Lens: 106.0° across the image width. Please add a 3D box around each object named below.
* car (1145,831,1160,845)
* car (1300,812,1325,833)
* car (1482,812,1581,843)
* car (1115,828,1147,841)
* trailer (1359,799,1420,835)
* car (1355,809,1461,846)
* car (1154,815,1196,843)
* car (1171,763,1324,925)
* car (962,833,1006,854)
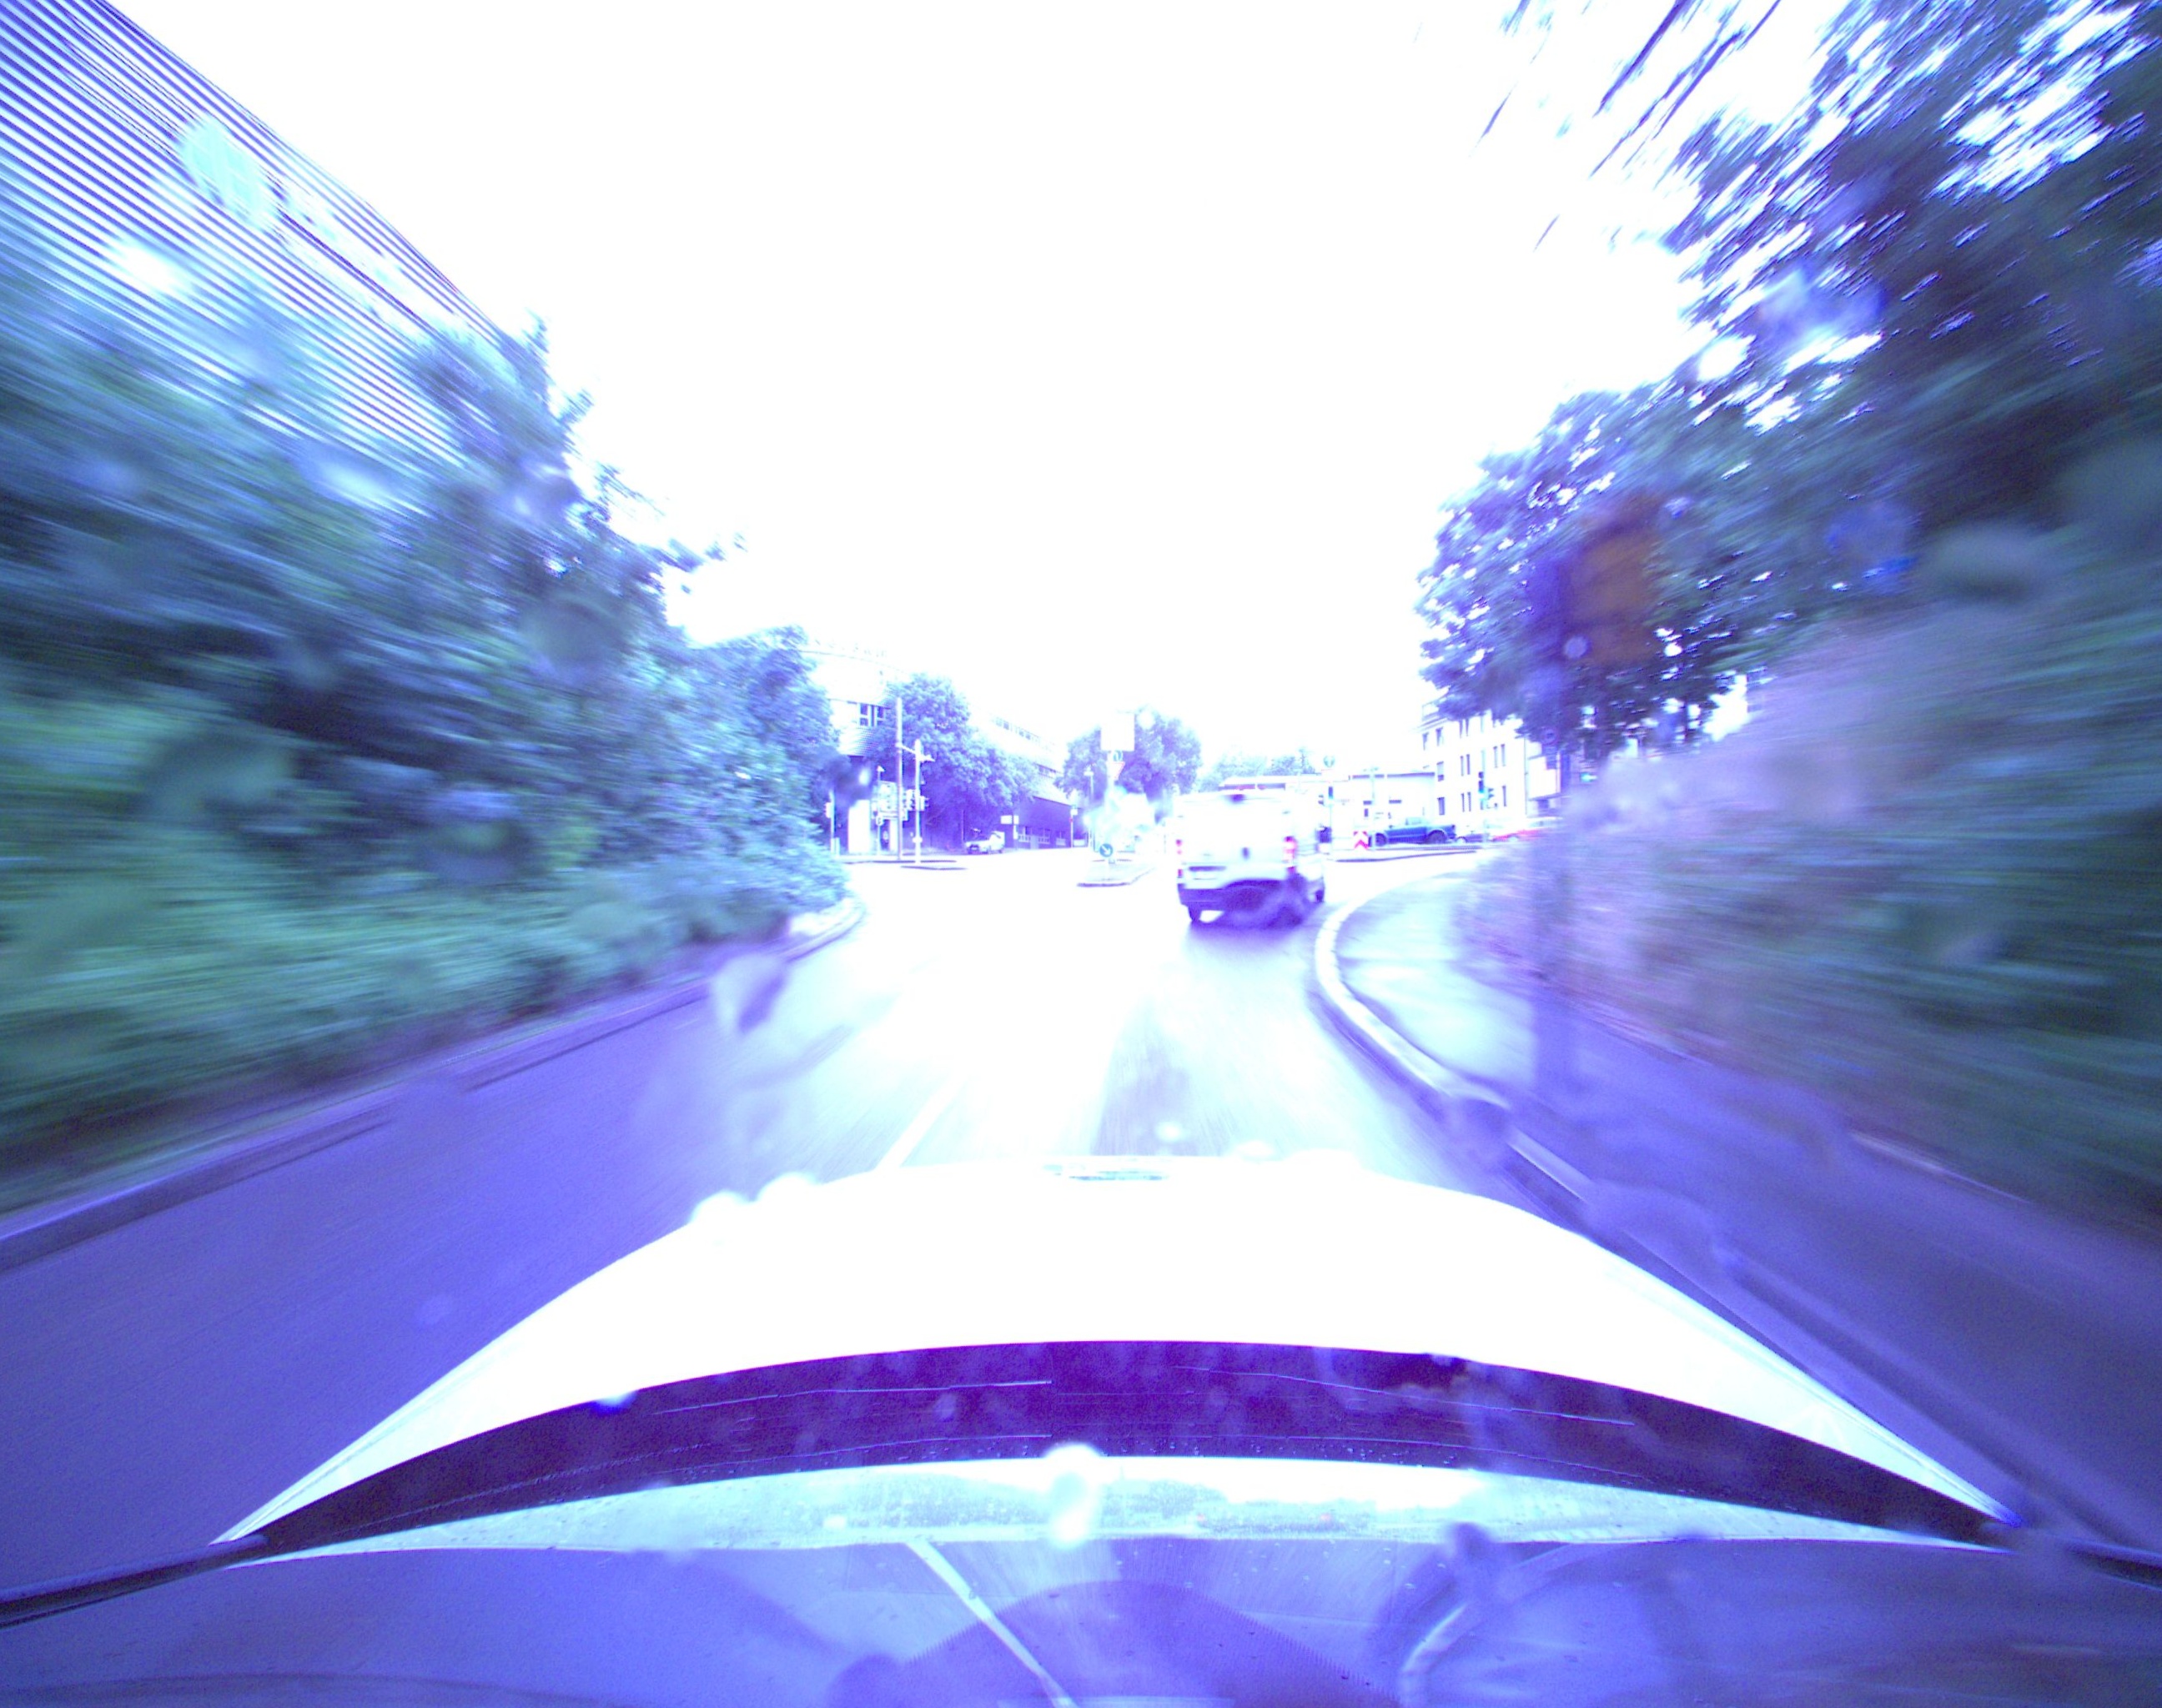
[{"bbox_3d":[7.292,-1.624,82.666,1.200,1.303,2.347,-1,-1,13],"label":"car"},{"bbox_3d":[16.862,-2.301,59.388,1.218,1.424,2.690,-1,2,4],"label":"car"},{"bbox_3d":[24.708,-1.435,44.767,4.408,1.531,1.813,-1,-1,3],"label":"car"},{"bbox_3d":[4.370,-1.689,71.855,2.705,1.105,1.197,0,-1,-2],"label":"car"},{"bbox_3d":[23.837,-2.797,63.337,2.377,2.428,7.125,-1,-1,3],"label":"trailer"},{"bbox_3d":[18.257,-1.468,45.617,5.130,1.818,1.942,-2,-1,4],"label":"car"},{"bbox_3d":[7.021,-1.835,61.281,2.208,1.802,5.365,0,-1,-4],"label":"car"},{"bbox_3d":[3.317,-0.297,15.272,2.033,2.515,4.970,0,3,20],"label":"car"},{"bbox_3d":[-7.950,-0.923,67.471,2.012,1.599,4.401,-1,2,16],"label":"car"}]
